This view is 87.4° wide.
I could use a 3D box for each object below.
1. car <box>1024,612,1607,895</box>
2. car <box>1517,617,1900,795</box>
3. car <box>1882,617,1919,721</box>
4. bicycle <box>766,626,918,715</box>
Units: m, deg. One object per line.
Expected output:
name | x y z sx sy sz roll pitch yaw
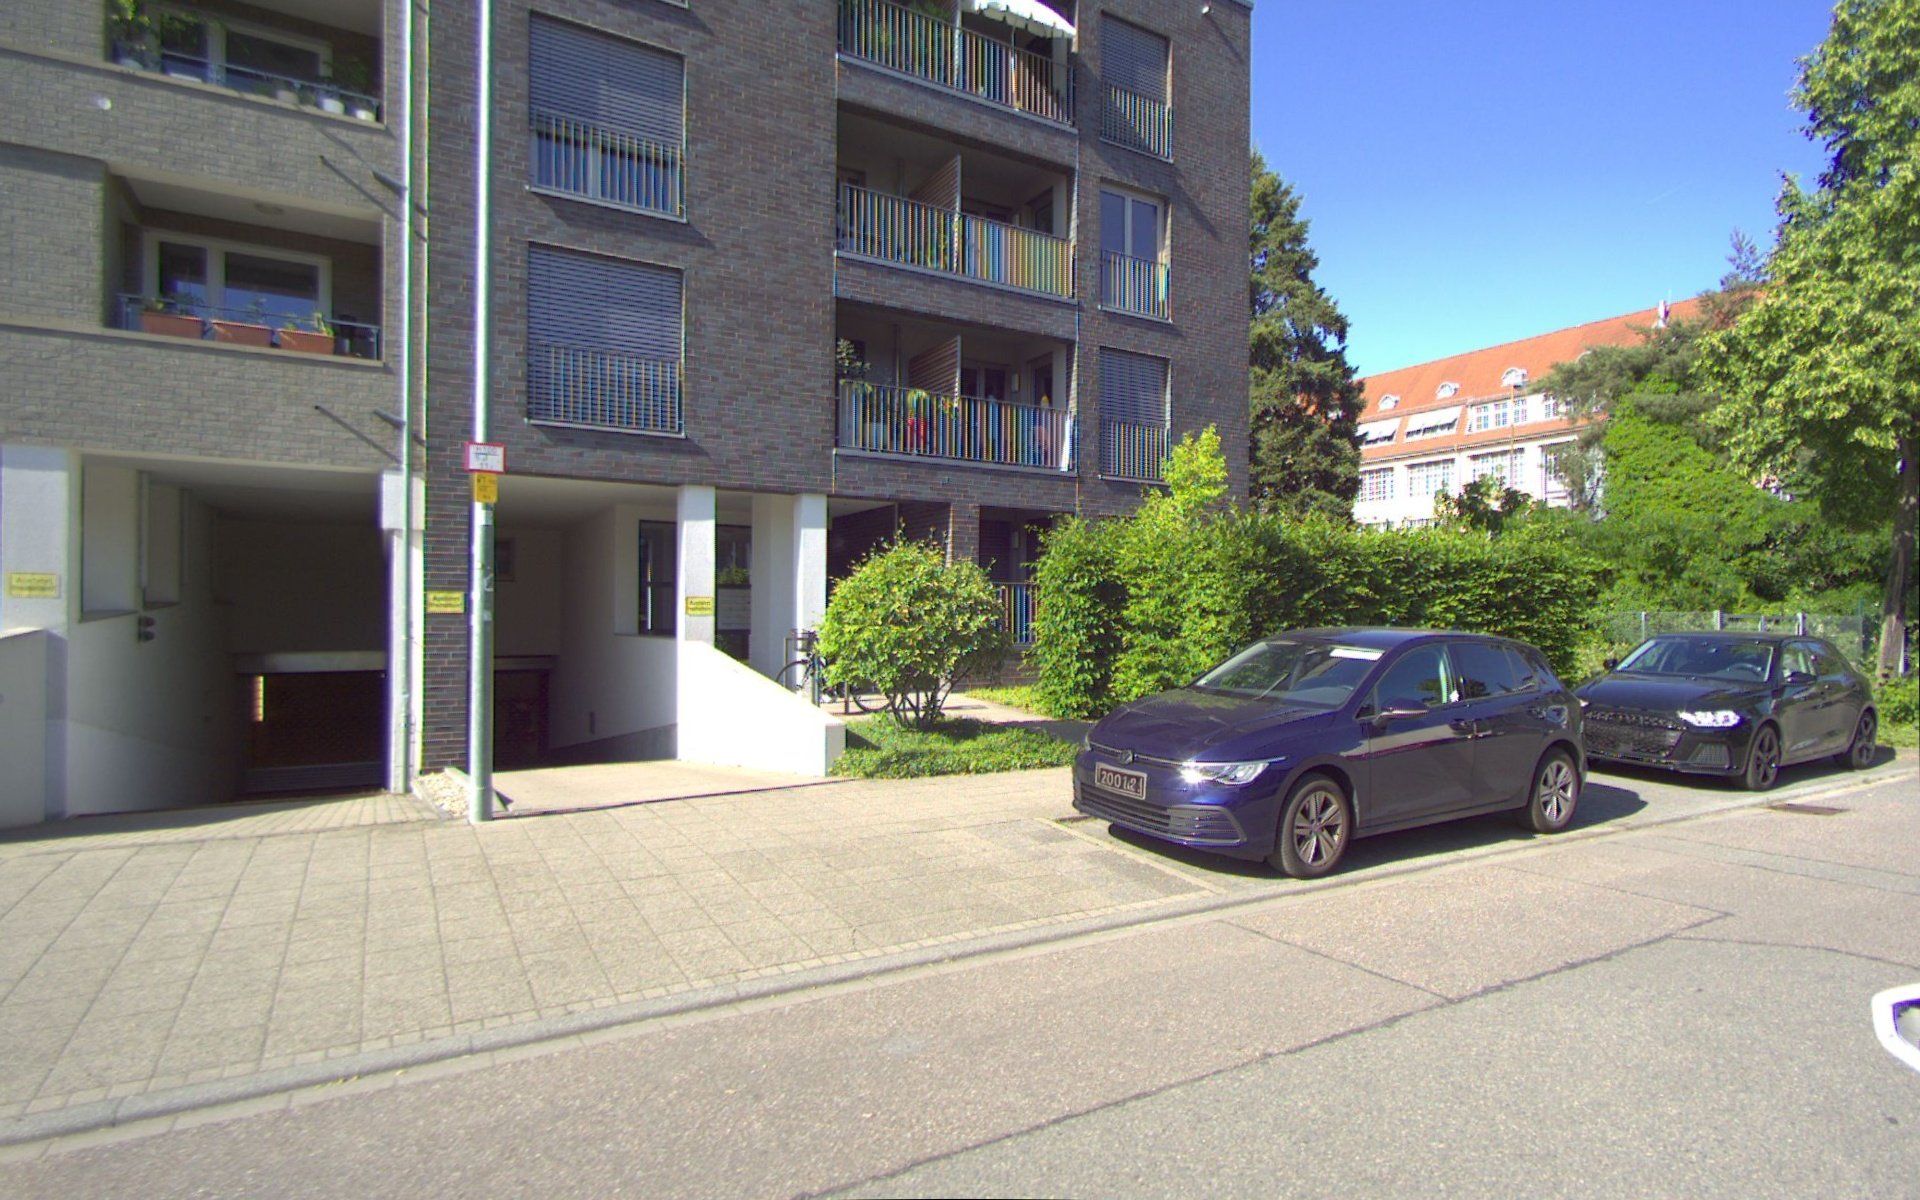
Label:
car | 2.655 0.872 7.303 4.052 1.494 1.831 1 1 -31
car | 7.912 0.961 10.559 3.980 1.494 1.831 1 1 -31
car | 15.996 1.038 15.212 4.309 1.494 1.831 1 1 -31
bicycle | -1.518 0.908 13.065 1.853 1.088 0.637 2 -2 -31
